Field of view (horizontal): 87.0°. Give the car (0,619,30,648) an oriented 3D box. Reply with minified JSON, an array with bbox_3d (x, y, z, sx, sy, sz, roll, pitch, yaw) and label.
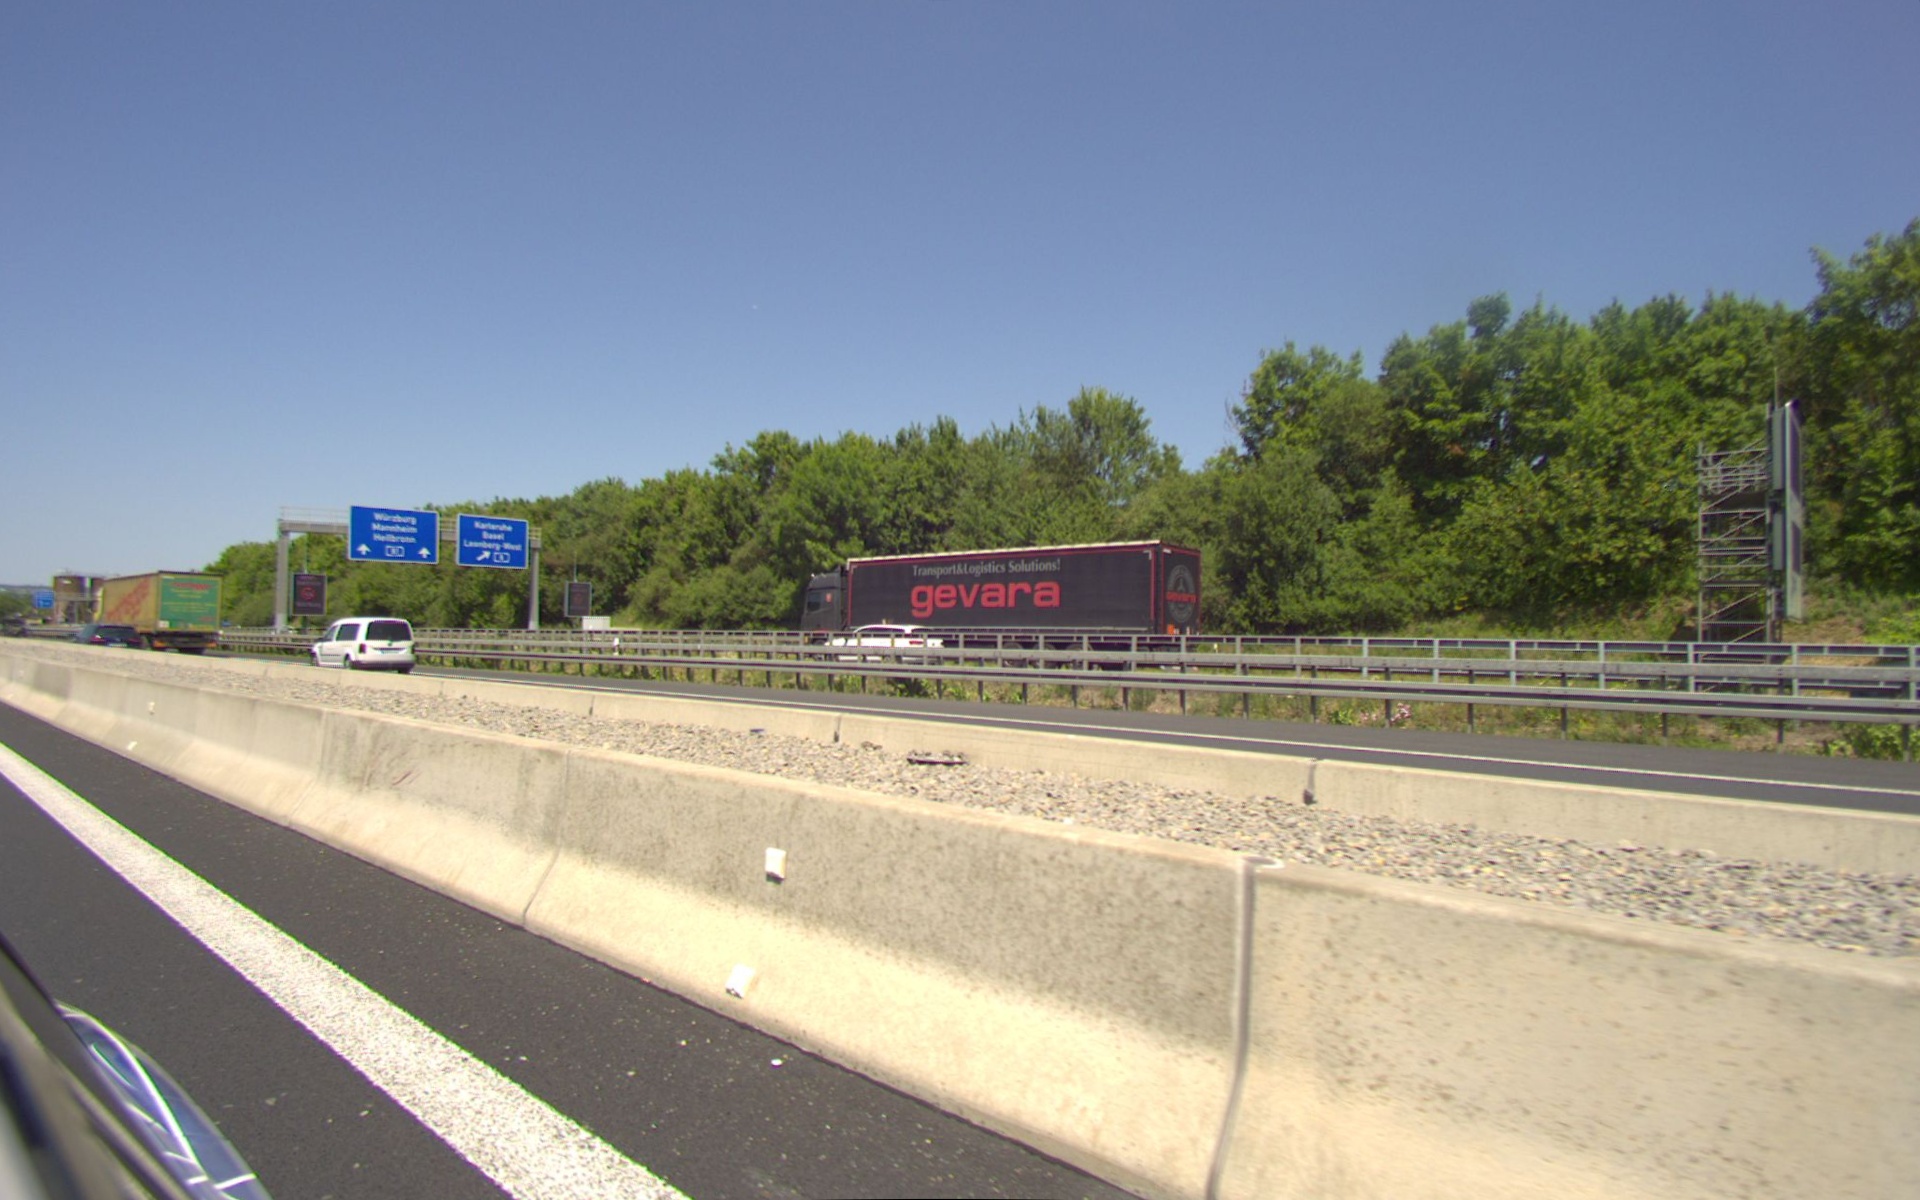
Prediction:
[{"bbox_3d":[-69.105,2.436,73.336,5.344,2.029,1.898,-1,-2,41],"label":"car"}]

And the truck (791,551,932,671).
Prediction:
[{"bbox_3d":[-3.863,0.406,39.246,4.997,4.304,2.780,-1,0,42],"label":"truck"}]

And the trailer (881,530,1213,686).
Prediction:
[{"bbox_3d":[2.450,0.263,33.859,11.646,4.467,2.765,-1,0,41],"label":"trailer"}]

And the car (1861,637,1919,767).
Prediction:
[{"bbox_3d":[17.258,1.679,16.335,3.998,2.029,1.973,-1,0,41],"label":"car"}]

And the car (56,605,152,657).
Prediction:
[{"bbox_3d":[-32.241,1.125,38.067,4.822,1.840,1.964,-1,0,40],"label":"car"}]

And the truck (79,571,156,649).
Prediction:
[{"bbox_3d":[-48.630,0.549,58.397,4.550,4.320,2.678,-1,0,40],"label":"truck"}]

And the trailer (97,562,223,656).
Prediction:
[{"bbox_3d":[-41.640,0.465,52.386,13.808,4.305,2.639,-1,0,41],"label":"trailer"}]

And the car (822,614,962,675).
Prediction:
[{"bbox_3d":[-2.270,1.401,33.002,4.536,1.871,1.973,-1,-2,41],"label":"car"}]

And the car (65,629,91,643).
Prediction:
[{"bbox_3d":[-133.381,5.463,153.067,4.755,2.029,1.929,-1,0,36],"label":"car"}]

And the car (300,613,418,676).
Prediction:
[{"bbox_3d":[-19.114,1.347,32.099,4.899,1.840,1.724,-1,0,40],"label":"car"}]
